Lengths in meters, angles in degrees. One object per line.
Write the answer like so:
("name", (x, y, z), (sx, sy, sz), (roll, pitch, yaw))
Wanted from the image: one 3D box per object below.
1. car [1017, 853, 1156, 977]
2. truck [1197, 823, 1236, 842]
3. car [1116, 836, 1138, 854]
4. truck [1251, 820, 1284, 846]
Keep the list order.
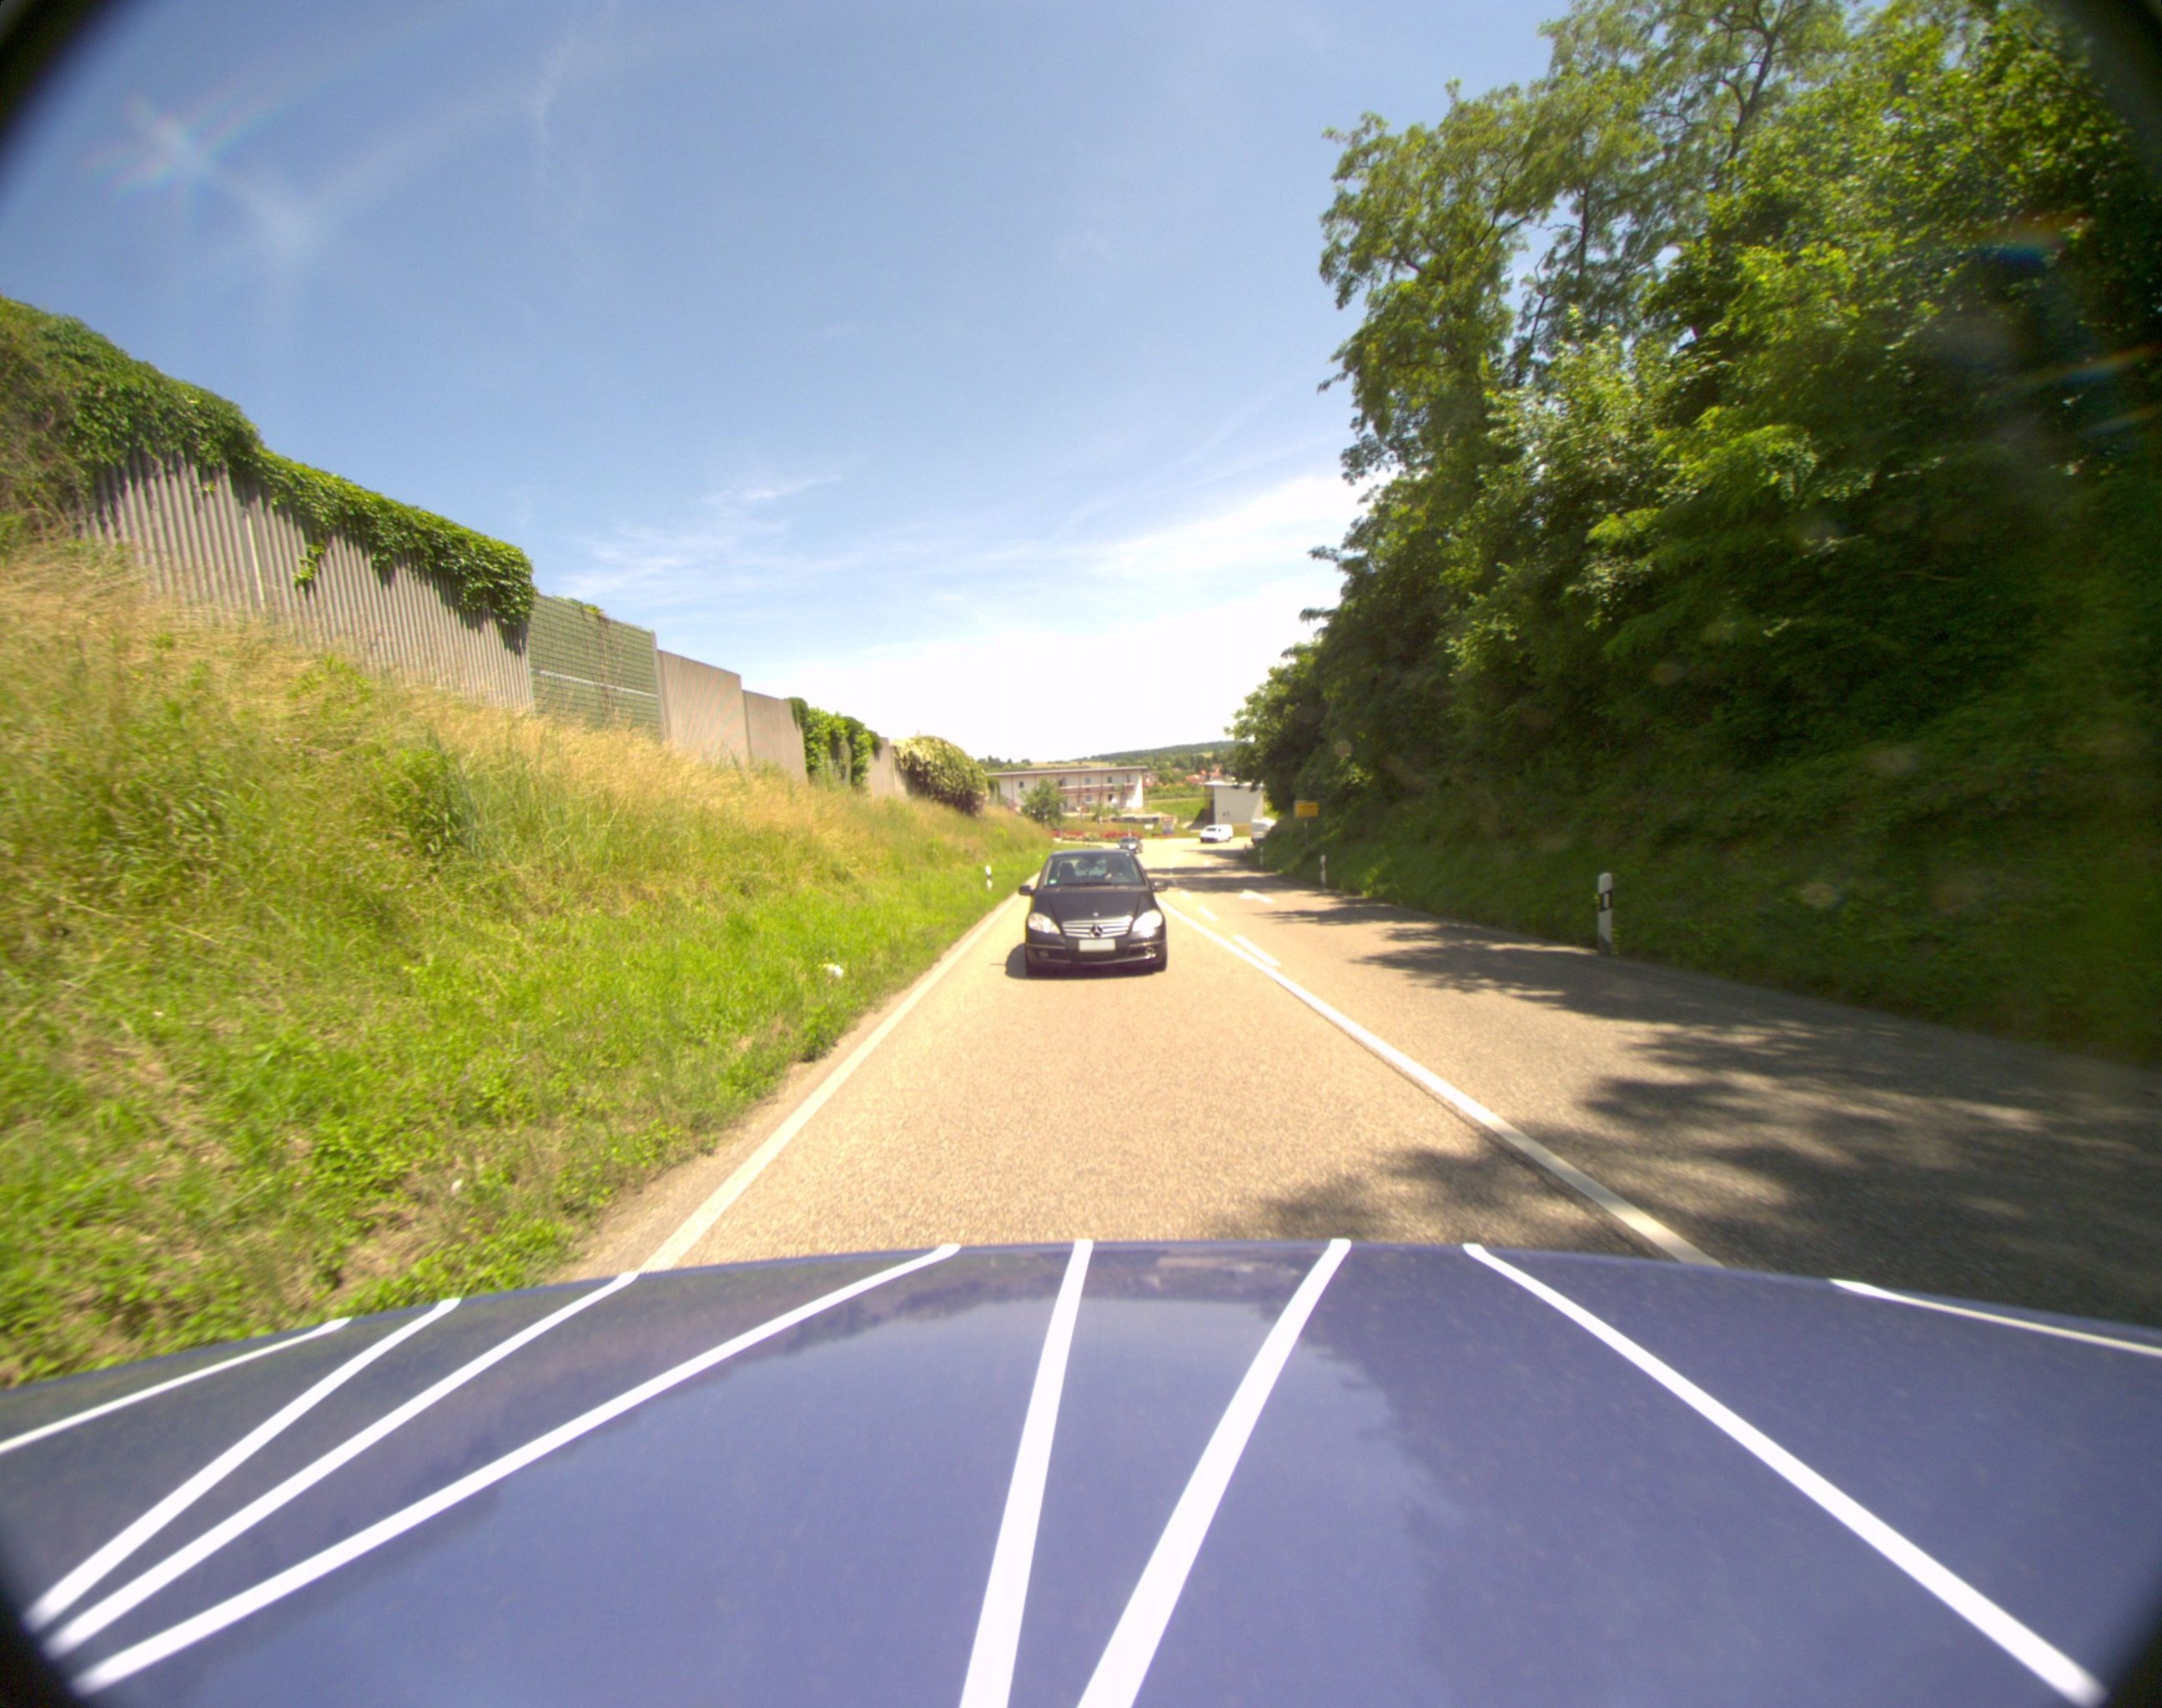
("car", (0.150, 0.790, 11.754), (1.795, 1.570, 3.800), (0, 1, 2))
("truck", (15.621, -2.462, 87.295), (2.066, 2.002, 5.254), (1, 3, 40))
("car", (3.791, -0.755, 62.611), (1.755, 1.281, 4.144), (-1, 2, 3))
("truck", (20.125, -2.330, 81.952), (2.054, 2.673, 5.990), (2, 4, 27))
